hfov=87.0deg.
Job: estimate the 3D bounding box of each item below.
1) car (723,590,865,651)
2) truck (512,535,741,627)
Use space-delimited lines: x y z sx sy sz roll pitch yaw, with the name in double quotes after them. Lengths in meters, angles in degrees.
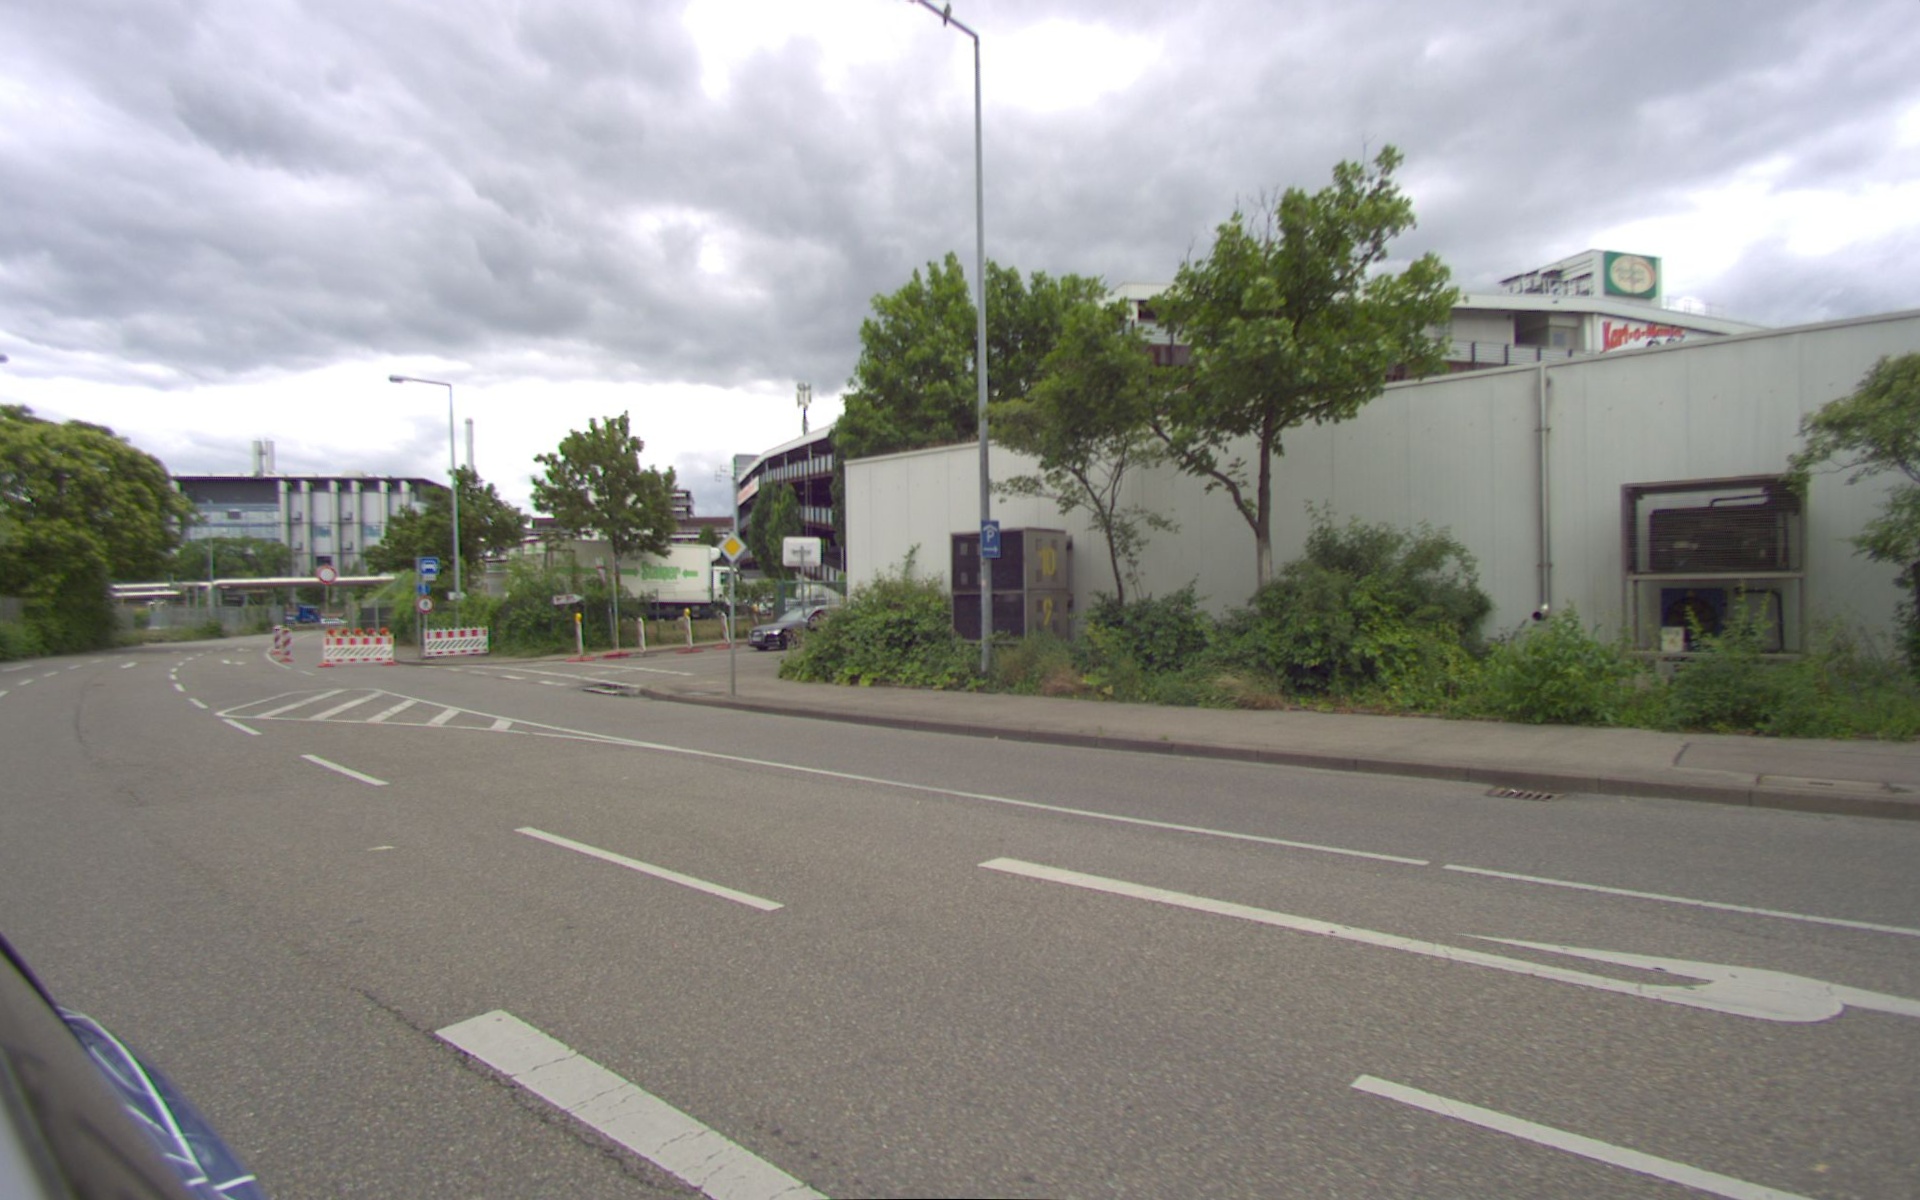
-5.692 0.672 35.124 2.001 1.823 4.556 -1 1 44 "car"
-14.300 -0.771 44.156 2.934 3.623 9.143 -1 0 45 "truck"
